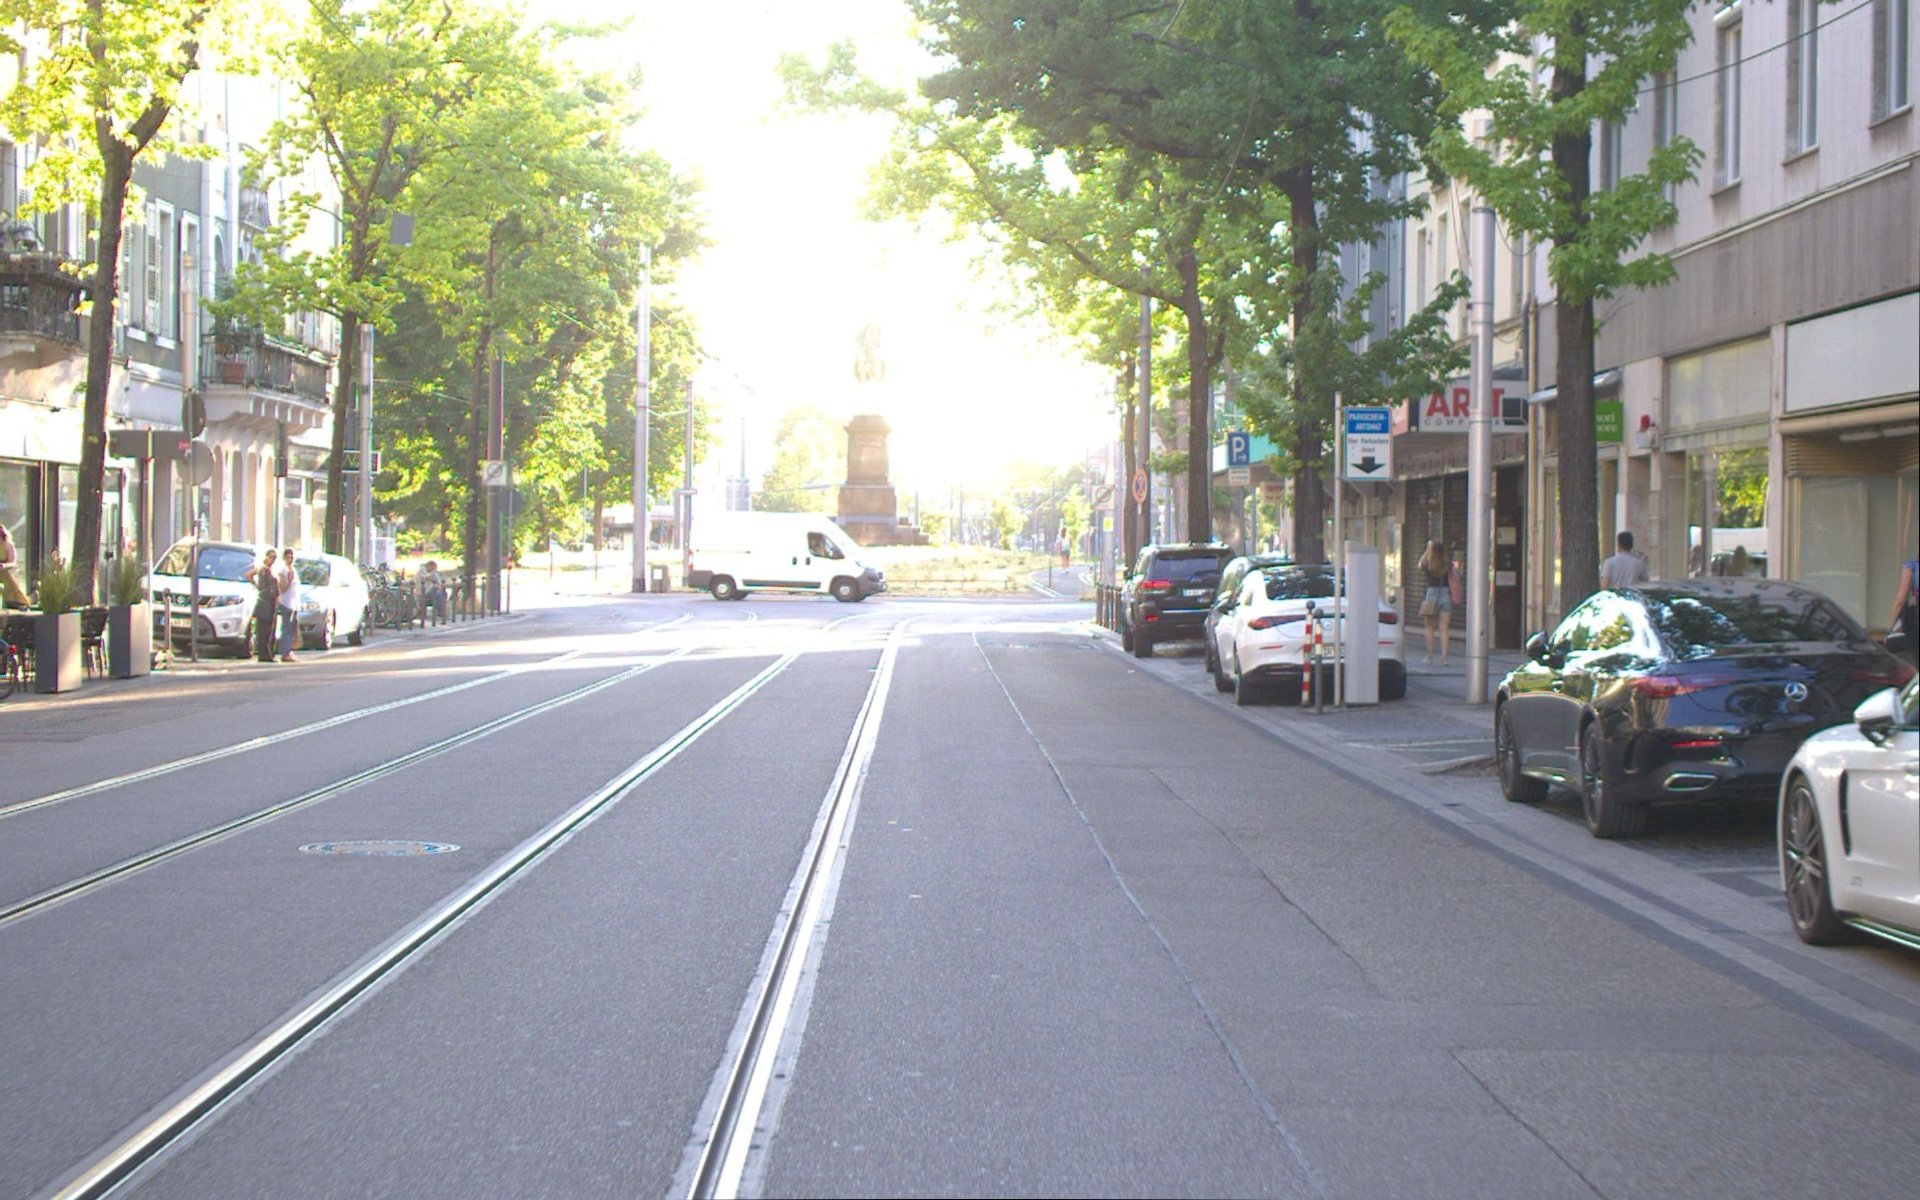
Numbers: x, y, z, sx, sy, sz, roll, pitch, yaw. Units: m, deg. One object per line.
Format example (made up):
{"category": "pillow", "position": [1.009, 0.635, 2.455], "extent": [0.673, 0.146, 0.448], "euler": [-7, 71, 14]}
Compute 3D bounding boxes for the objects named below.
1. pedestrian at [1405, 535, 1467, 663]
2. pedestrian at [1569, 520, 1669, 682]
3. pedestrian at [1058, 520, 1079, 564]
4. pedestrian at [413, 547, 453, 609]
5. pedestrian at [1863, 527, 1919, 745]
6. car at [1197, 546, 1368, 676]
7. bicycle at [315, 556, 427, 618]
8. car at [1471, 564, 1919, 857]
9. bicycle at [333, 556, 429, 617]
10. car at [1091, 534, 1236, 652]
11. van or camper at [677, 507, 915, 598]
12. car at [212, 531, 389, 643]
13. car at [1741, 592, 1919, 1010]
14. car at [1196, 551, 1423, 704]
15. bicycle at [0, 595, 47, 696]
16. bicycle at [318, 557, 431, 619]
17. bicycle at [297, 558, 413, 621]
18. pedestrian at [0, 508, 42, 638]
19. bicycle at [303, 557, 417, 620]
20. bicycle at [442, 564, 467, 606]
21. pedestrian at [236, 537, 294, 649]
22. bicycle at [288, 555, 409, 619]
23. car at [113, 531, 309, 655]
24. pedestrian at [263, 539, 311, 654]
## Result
{"category": "pedestrian", "position": [6.350, -0.017, 45.868], "extent": [0.643, 1.664, 0.786], "euler": [-2, 1, -1]}
{"category": "pedestrian", "position": [7.302, 0.001, 38.115], "extent": [0.858, 1.747, 0.933], "euler": [-2, 1, -1]}
{"category": "pedestrian", "position": [3.957, -2.118, 125.716], "extent": [0.636, 1.600, 0.771], "euler": [1, 1, 12]}
{"category": "pedestrian", "position": [-11.154, -0.470, 72.757], "extent": [0.728, 1.286, 0.857], "euler": [1, 1, -3]}
{"category": "pedestrian", "position": [7.496, 0.265, 26.708], "extent": [0.658, 1.659, 0.888], "euler": [-2, 1, -1]}
{"category": "car", "position": [4.288, 0.110, 46.177], "extent": [1.776, 1.585, 3.892], "euler": [-3, 1, -1]}
{"category": "bicycle", "position": [-11.385, -0.249, 66.463], "extent": [2.024, 1.101, 0.501], "euler": [2, 0, 2]}
{"category": "car", "position": [4.390, 0.557, 20.519], "extent": [1.833, 1.473, 4.762], "euler": [-1, 1, -1]}
{"category": "bicycle", "position": [-11.347, -0.269, 67.334], "extent": [2.028, 1.101, 0.500], "euler": [2, 0, 34]}
{"category": "car", "position": [3.266, -0.151, 55.981], "extent": [1.938, 1.753, 4.680], "euler": [-3, 1, -1]}
{"category": "van or camper", "position": [-4.578, -1.363, 96.655], "extent": [6.301, 2.464, 2.615], "euler": [1, 1, 8]}
{"category": "car", "position": [-10.446, -0.233, 54.765], "extent": [1.836, 1.574, 4.702], "euler": [4, 1, 0]}
{"category": "car", "position": [4.340, 0.714, 12.323], "extent": [1.912, 1.415, 4.888], "euler": [-2, 1, 0]}
{"category": "car", "position": [3.816, 0.254, 38.294], "extent": [1.993, 1.493, 4.680], "euler": [-2, 1, 0]}
{"category": "bicycle", "position": [-9.934, 0.423, 34.104], "extent": [1.616, 0.962, 0.432], "euler": [3, 1, 5]}
{"category": "bicycle", "position": [-11.217, -0.234, 65.877], "extent": [2.024, 1.101, 0.501], "euler": [2, 0, 2]}
{"category": "bicycle", "position": [-11.320, -0.197, 64.346], "extent": [2.023, 1.101, 0.501], "euler": [2, 0, -25]}
{"category": "pedestrian", "position": [-13.012, -0.374, 46.810], "extent": [0.722, 1.754, 1.090], "euler": [1, 1, 0]}
{"category": "bicycle", "position": [-11.346, -0.219, 64.997], "extent": [2.023, 1.101, 0.501], "euler": [2, 0, -25]}
{"category": "bicycle", "position": [-11.475, -0.345, 78.065], "extent": [0.336, 0.942, 1.510], "euler": [1, 1, 0]}
{"category": "pedestrian", "position": [-9.379, -0.091, 46.420], "extent": [0.620, 1.504, 0.729], "euler": [0, 0, 0]}
{"category": "bicycle", "position": [-11.341, -0.234, 63.772], "extent": [2.108, 1.101, 0.501], "euler": [2, 0, -25]}
{"category": "car", "position": [-10.742, -0.127, 49.582], "extent": [1.836, 1.575, 4.116], "euler": [4, 1, 0]}
{"category": "pedestrian", "position": [-9.245, -0.045, 47.238], "extent": [0.521, 1.564, 0.634], "euler": [0, 0, 0]}
